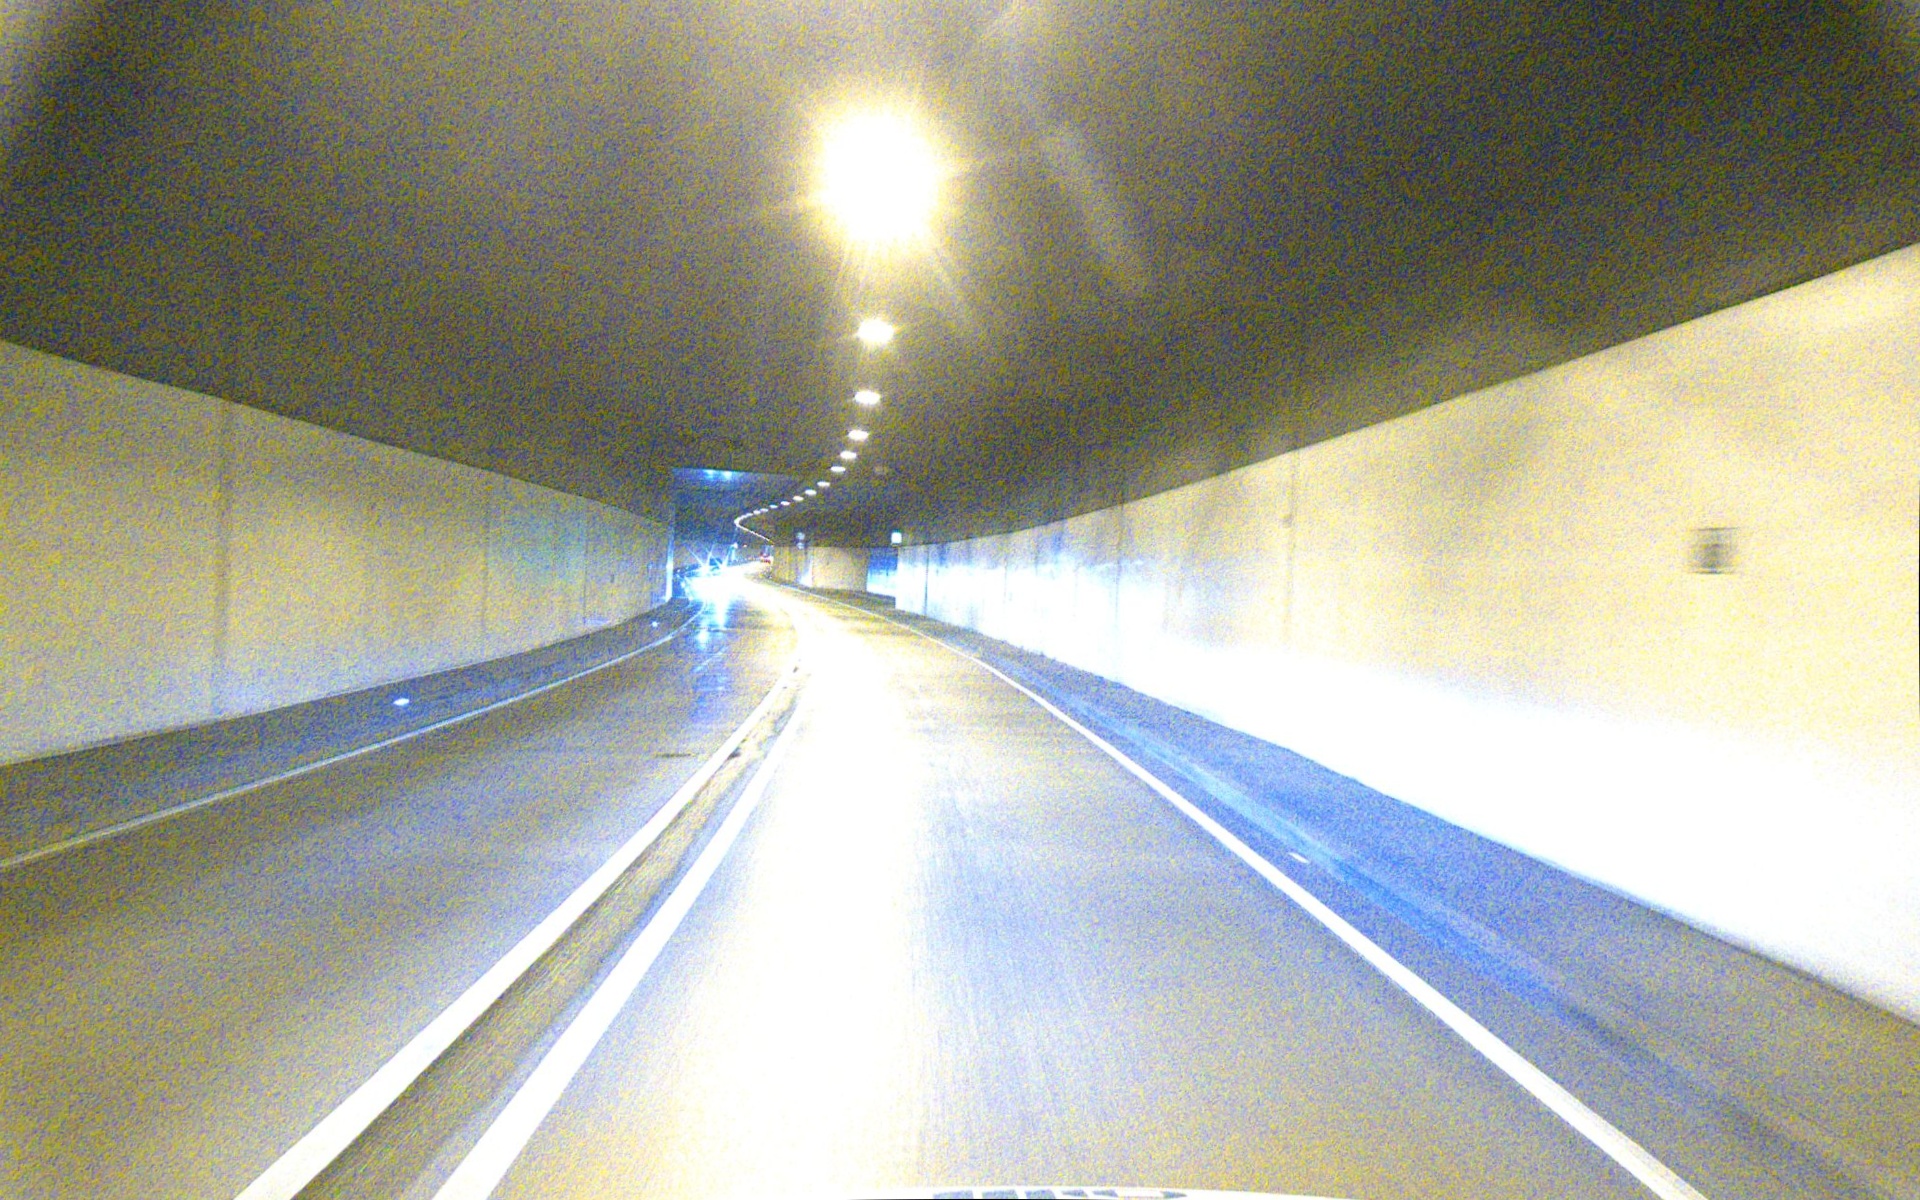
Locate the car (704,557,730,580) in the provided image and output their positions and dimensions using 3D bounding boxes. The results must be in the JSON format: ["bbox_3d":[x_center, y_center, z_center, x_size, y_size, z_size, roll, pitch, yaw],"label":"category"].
[{"bbox_3d":[-18.958,-2.435,128.987,1.956,1.624,3.992,1,-1,-8],"label":"car"}]
